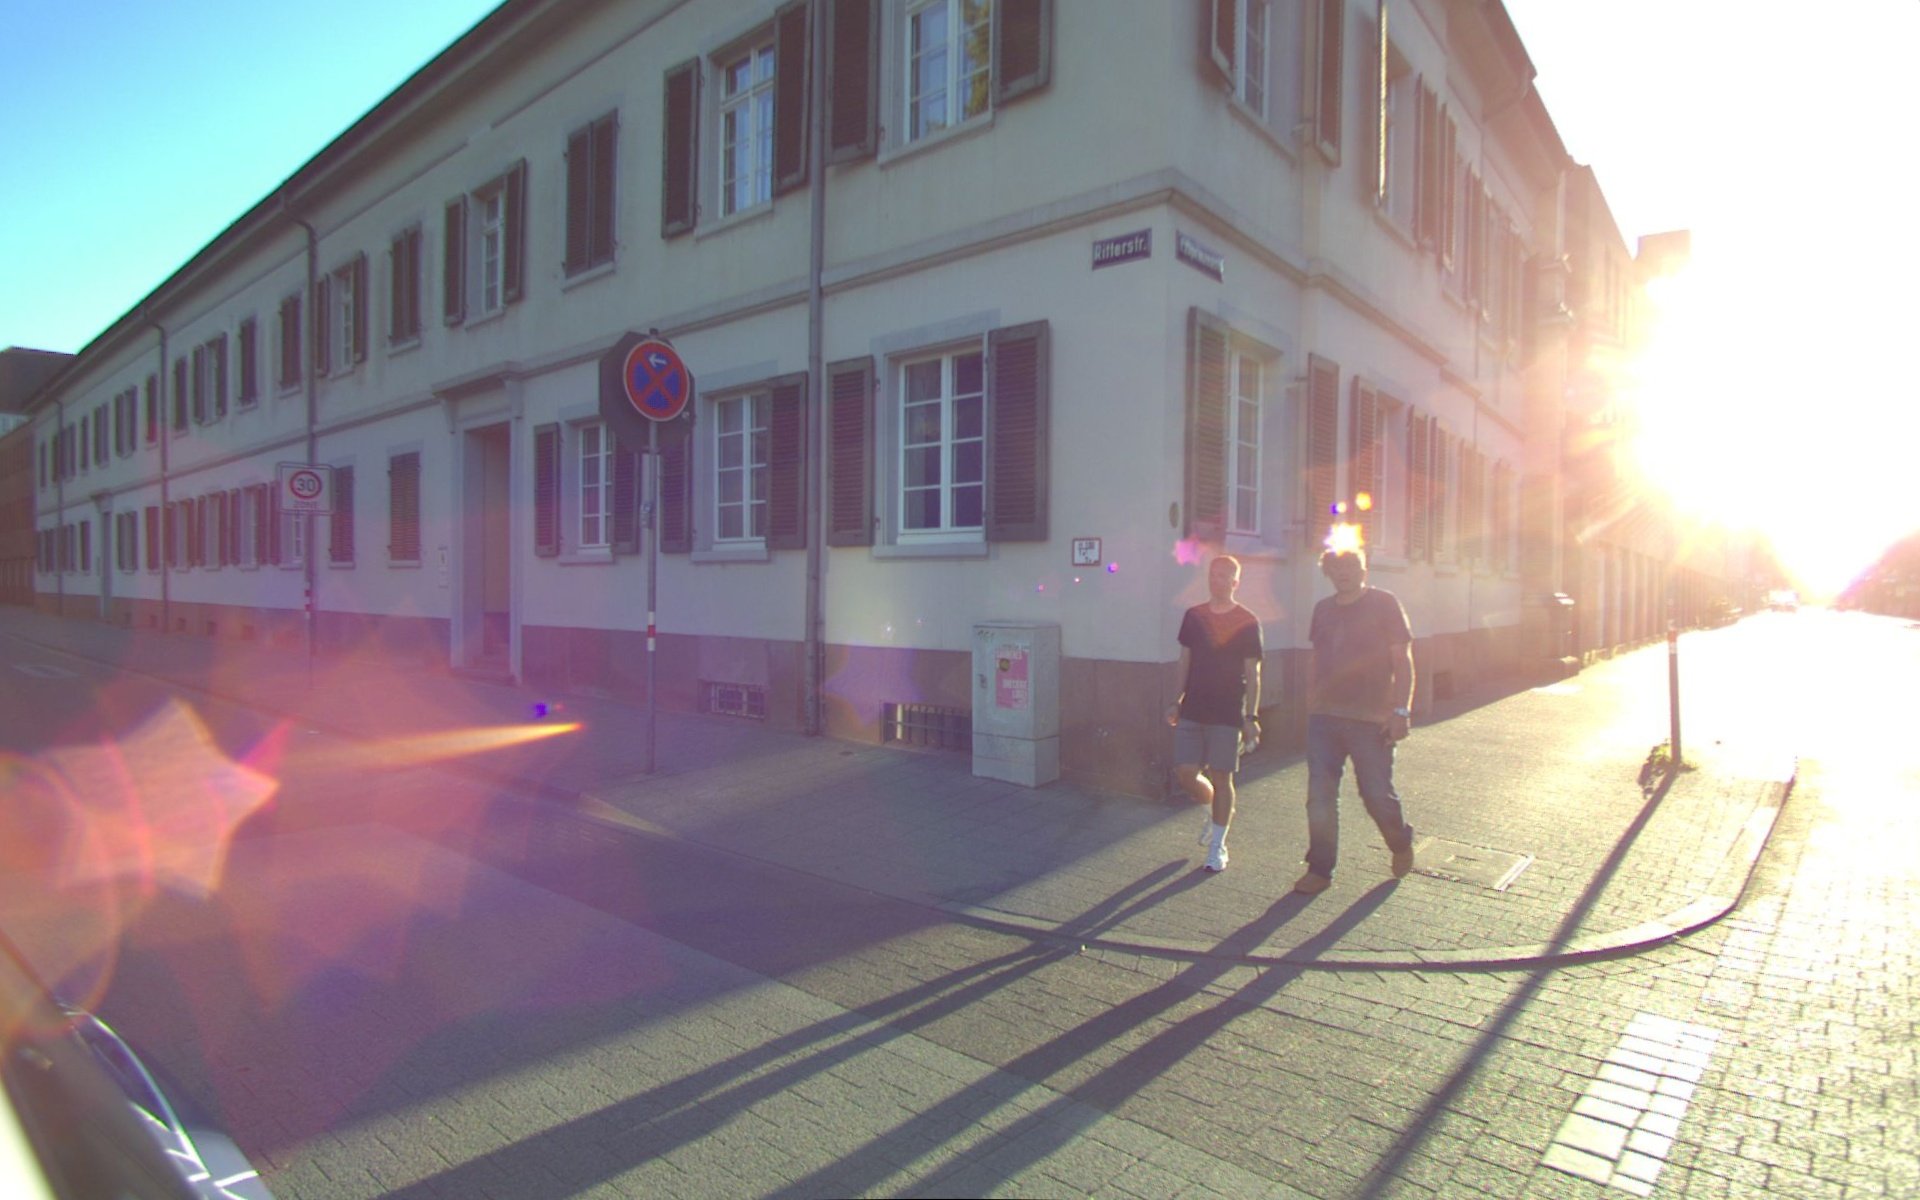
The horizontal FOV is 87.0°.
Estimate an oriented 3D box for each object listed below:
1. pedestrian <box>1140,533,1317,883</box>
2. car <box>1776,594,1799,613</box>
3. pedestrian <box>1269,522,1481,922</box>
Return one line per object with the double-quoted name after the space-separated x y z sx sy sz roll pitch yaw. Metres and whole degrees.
1.497 0.538 5.604 0.649 1.753 0.848 1 0 38 "pedestrian"
93.476 0.396 114.273 1.998 2.029 3.947 1 0 40 "car"
2.129 0.546 5.161 0.761 1.801 0.930 1 0 38 "pedestrian"
